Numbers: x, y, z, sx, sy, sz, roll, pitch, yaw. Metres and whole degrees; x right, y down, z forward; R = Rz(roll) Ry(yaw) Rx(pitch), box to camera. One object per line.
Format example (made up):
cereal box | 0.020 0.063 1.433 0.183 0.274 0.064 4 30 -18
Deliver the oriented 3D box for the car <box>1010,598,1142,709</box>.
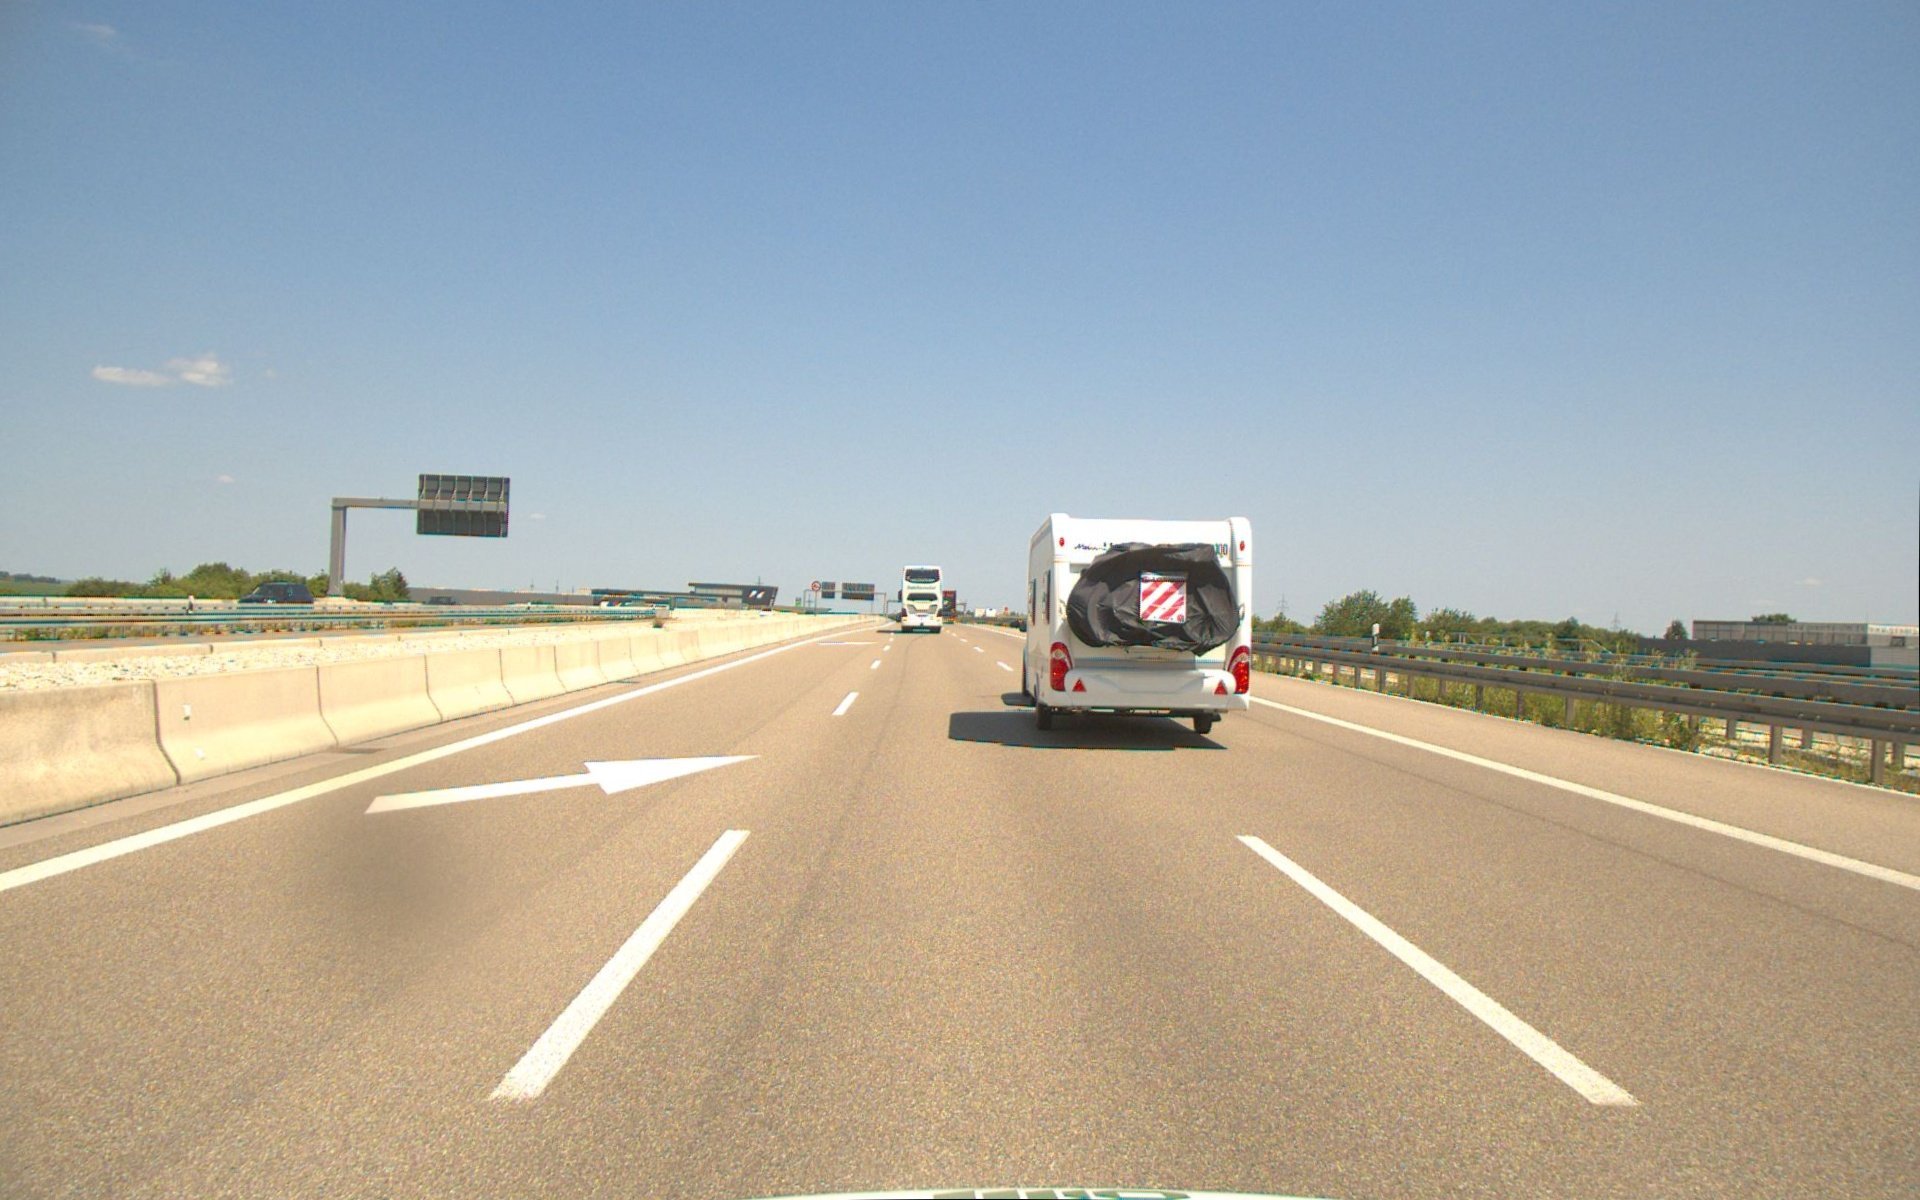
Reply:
car | 1.840 0.817 27.558 1.842 1.651 4.903 1 0 0

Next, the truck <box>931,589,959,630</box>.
truck | -1.959 1.275 210.332 3.311 4.543 13.562 2 -3 0

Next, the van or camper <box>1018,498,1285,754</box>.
van or camper | 2.141 0.279 21.234 2.461 2.638 7.816 1 0 0

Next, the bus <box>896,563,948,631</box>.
bus | -2.453 -0.171 104.411 2.921 4.044 9.099 1 0 -3

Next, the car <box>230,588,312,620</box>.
car | -32.199 0.198 77.426 1.952 1.403 4.362 1 0 1
